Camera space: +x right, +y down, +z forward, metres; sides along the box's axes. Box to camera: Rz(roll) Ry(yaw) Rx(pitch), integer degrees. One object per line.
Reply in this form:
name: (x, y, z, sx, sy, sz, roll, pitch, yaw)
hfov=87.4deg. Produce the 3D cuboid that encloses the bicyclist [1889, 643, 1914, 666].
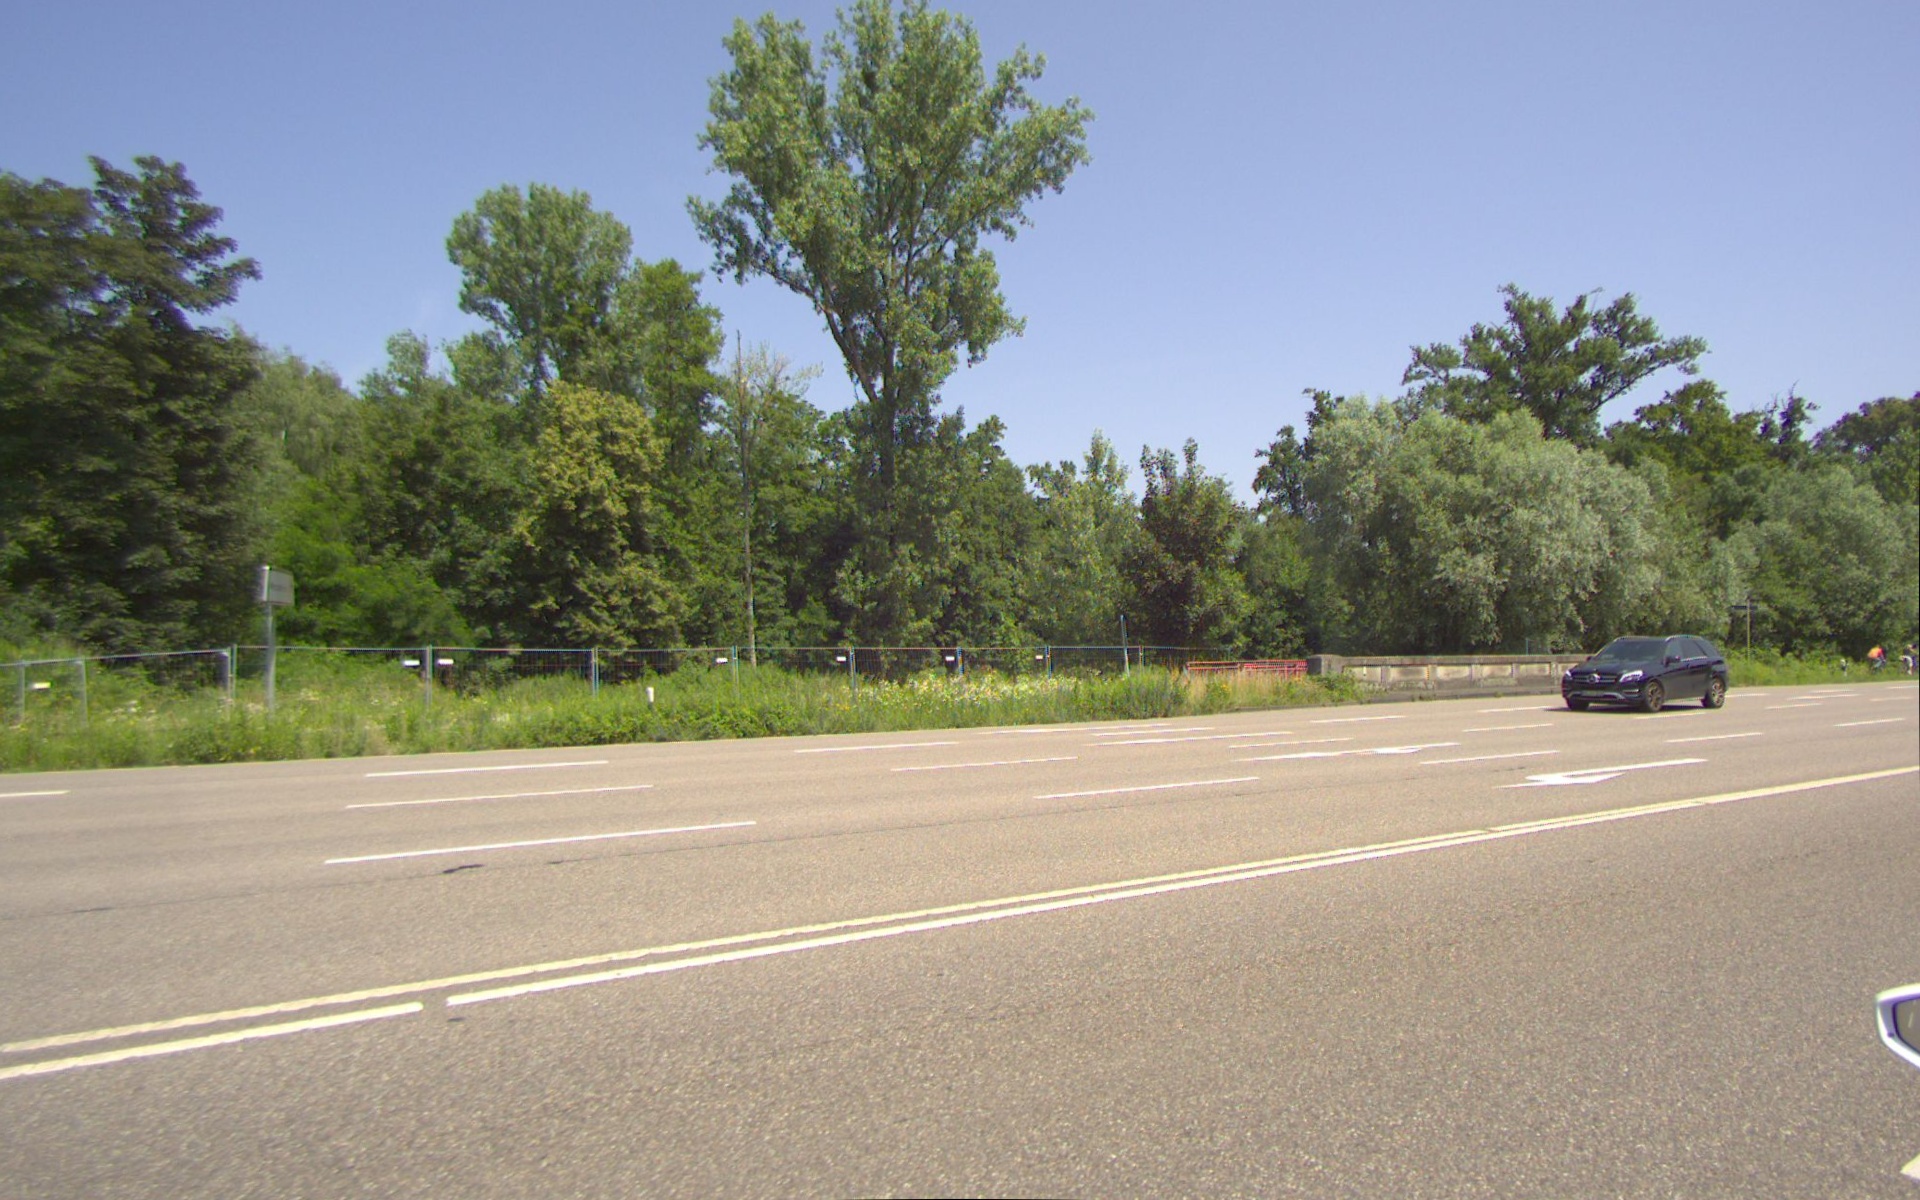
bicyclist: (48.685, 2.824, 51.948, 0.582, 1.211, 0.735, 1, -3, -18)

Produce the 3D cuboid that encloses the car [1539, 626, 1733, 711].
car: (16.630, 1.637, 24.659, 4.901, 1.906, 1.985, 1, -3, -30)

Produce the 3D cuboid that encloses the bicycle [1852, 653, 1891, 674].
bicycle: (46.018, 3.218, 50.718, 1.772, 1.018, 0.675, 0, -3, -20)

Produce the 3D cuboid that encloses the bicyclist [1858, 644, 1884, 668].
bicyclist: (46.012, 2.842, 50.735, 0.582, 1.211, 0.757, 0, -3, -19)

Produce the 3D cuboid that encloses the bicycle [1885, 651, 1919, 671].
bicycle: (48.708, 3.147, 51.924, 1.531, 1.019, 0.604, 1, -3, -18)
